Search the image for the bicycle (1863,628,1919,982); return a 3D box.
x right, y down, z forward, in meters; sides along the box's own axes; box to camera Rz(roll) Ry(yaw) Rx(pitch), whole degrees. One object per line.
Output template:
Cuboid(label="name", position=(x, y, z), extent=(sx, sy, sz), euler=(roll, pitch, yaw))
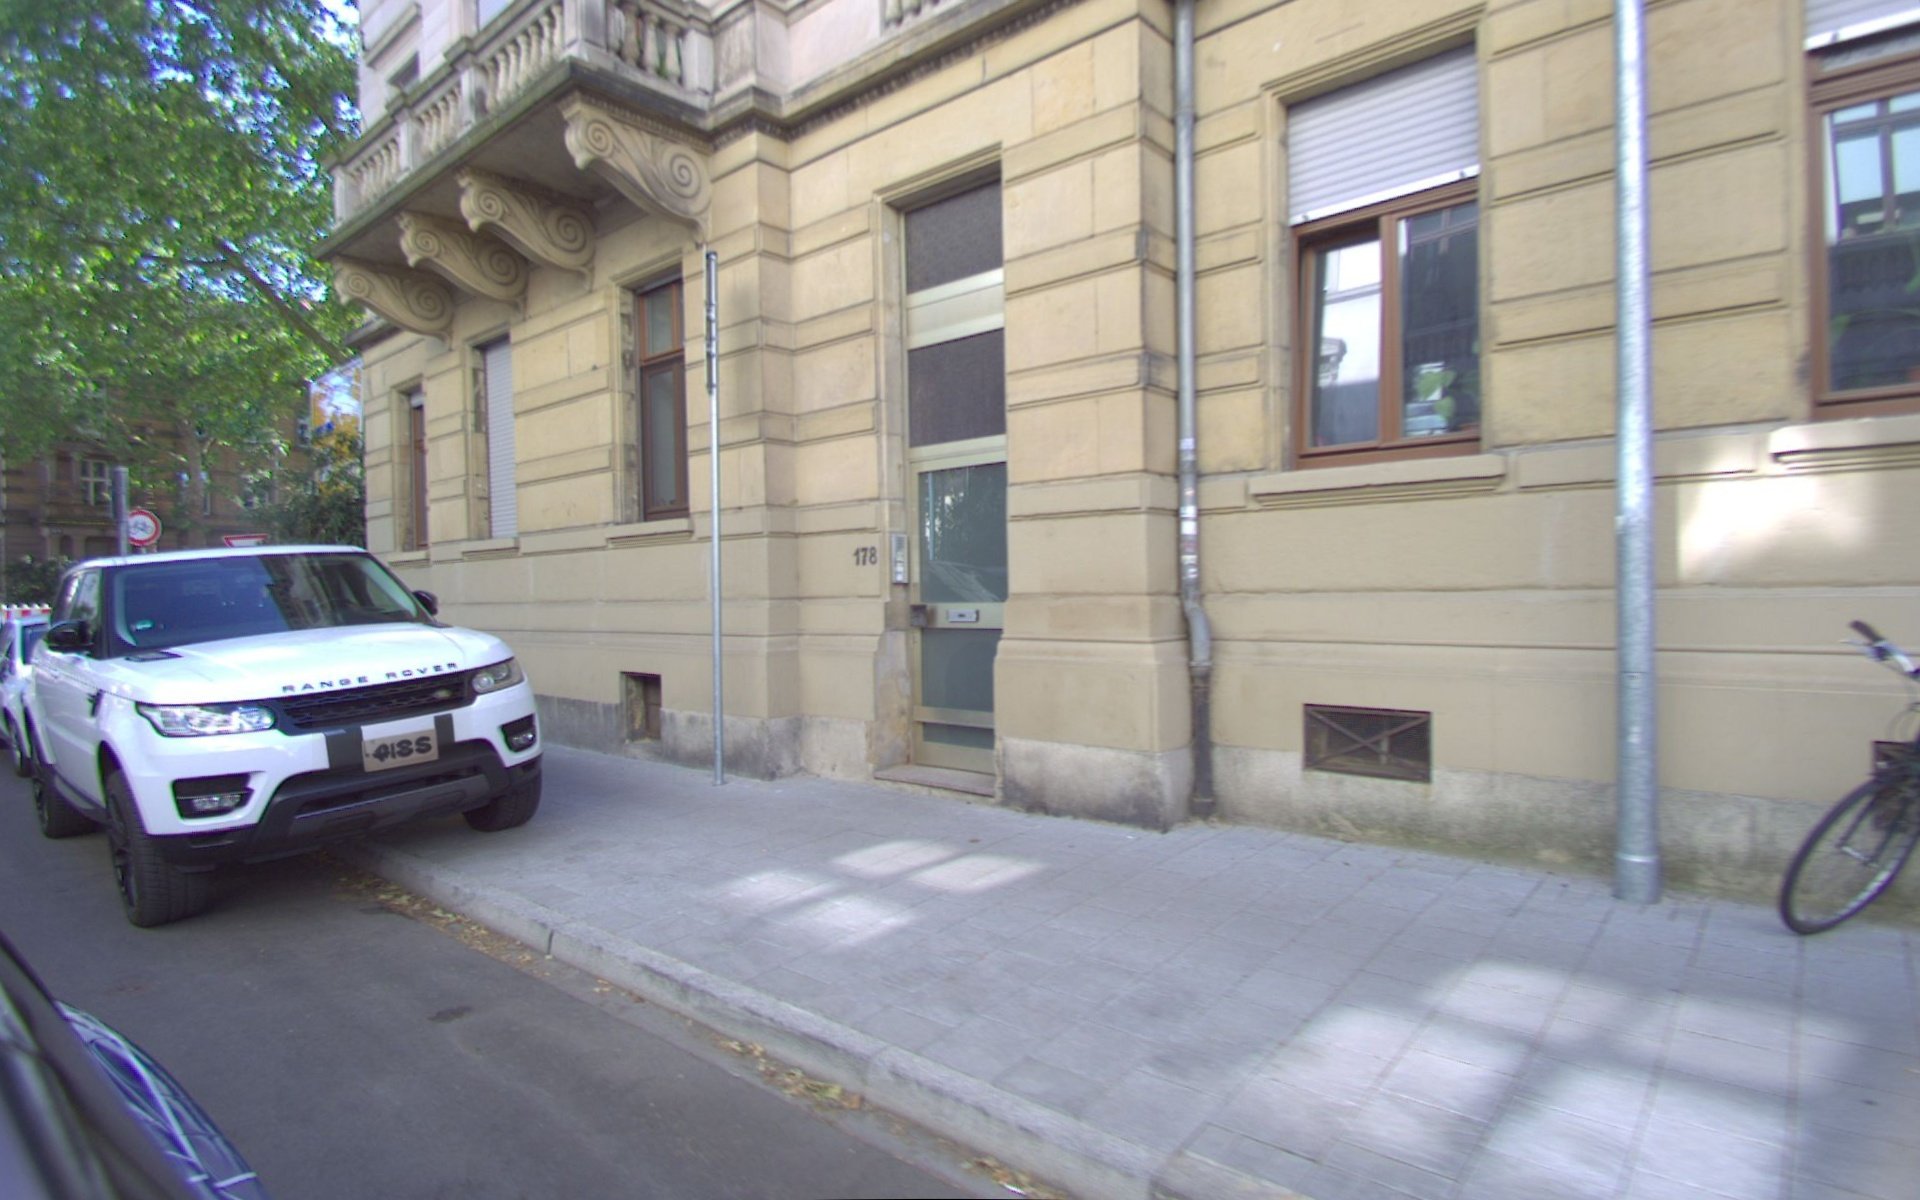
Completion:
Cuboid(label="bicycle", position=(3.744, 0.666, 3.043), extent=(1.507, 1.134, 0.428), euler=(-1, 0, 41))

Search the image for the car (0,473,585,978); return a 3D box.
Cuboid(label="car", position=(-4.429, 0.515, 6.336), extent=(4.541, 2.029, 2.000), euler=(-1, 0, 42))

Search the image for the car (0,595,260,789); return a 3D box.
Cuboid(label="car", position=(-9.047, 0.778, 10.556), extent=(3.939, 1.573, 1.848), euler=(0, 2, 40))
